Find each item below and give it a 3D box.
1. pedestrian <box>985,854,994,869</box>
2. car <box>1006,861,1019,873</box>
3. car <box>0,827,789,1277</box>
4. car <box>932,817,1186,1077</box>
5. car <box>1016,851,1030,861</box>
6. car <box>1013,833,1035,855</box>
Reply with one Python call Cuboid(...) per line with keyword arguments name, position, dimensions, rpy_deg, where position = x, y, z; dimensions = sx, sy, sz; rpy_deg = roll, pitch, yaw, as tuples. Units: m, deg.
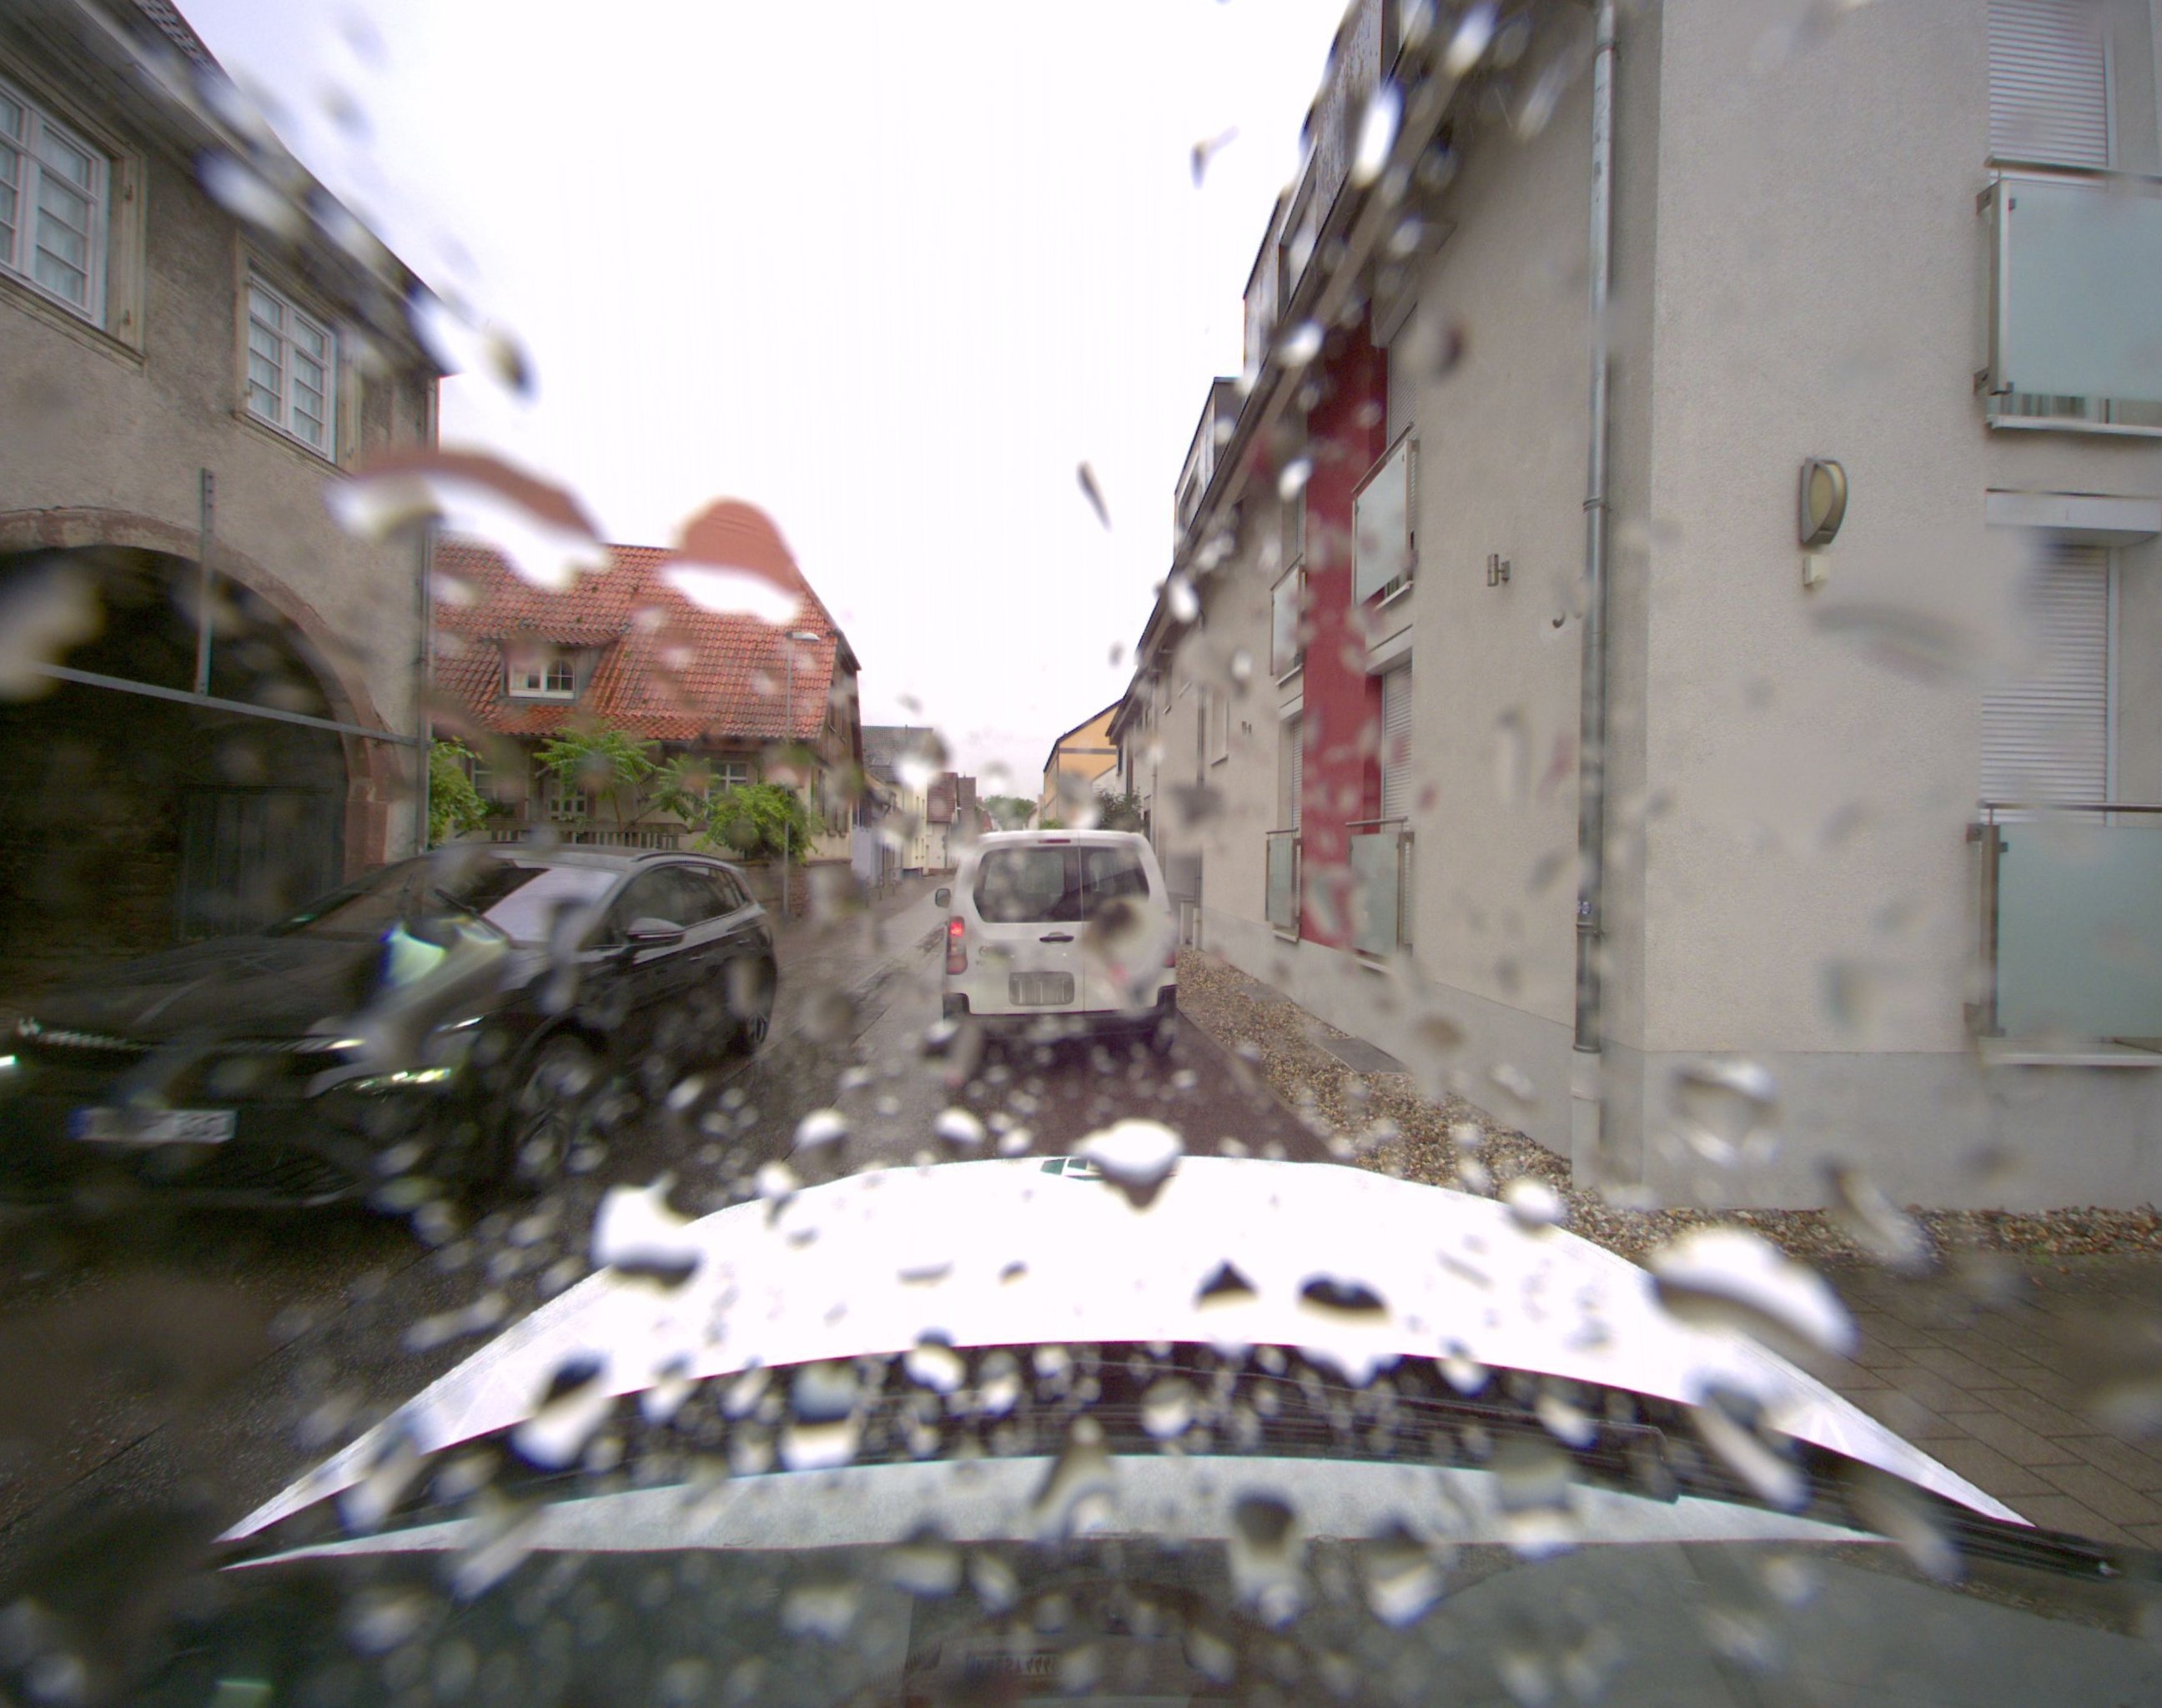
Cuboid(name="pedestrian", position=(-11.503, 0.936, 102.215), dimensions=(1.049, 1.893, 0.875), rpy_deg=(0, -1, -7))
Cuboid(name="car", position=(-9.143, 1.714, 108.005), dimensions=(1.559, 1.477, 3.990), rpy_deg=(0, -1, -7))
Cuboid(name="car", position=(-3.355, 0.708, 4.984), dimensions=(1.829, 1.556, 4.233), rpy_deg=(1, -1, -4))
Cuboid(name="car", position=(-0.360, 0.648, 7.680), dimensions=(1.773, 1.780, 3.991), rpy_deg=(0, -1, -7))
Cuboid(name="car", position=(-8.527, 0.286, 119.267), dimensions=(1.778, 1.395, 3.990), rpy_deg=(0, -1, -7))
Cuboid(name="car", position=(-5.341, -0.924, 76.663), dimensions=(1.989, 2.014, 3.995), rpy_deg=(0, -1, -3))
